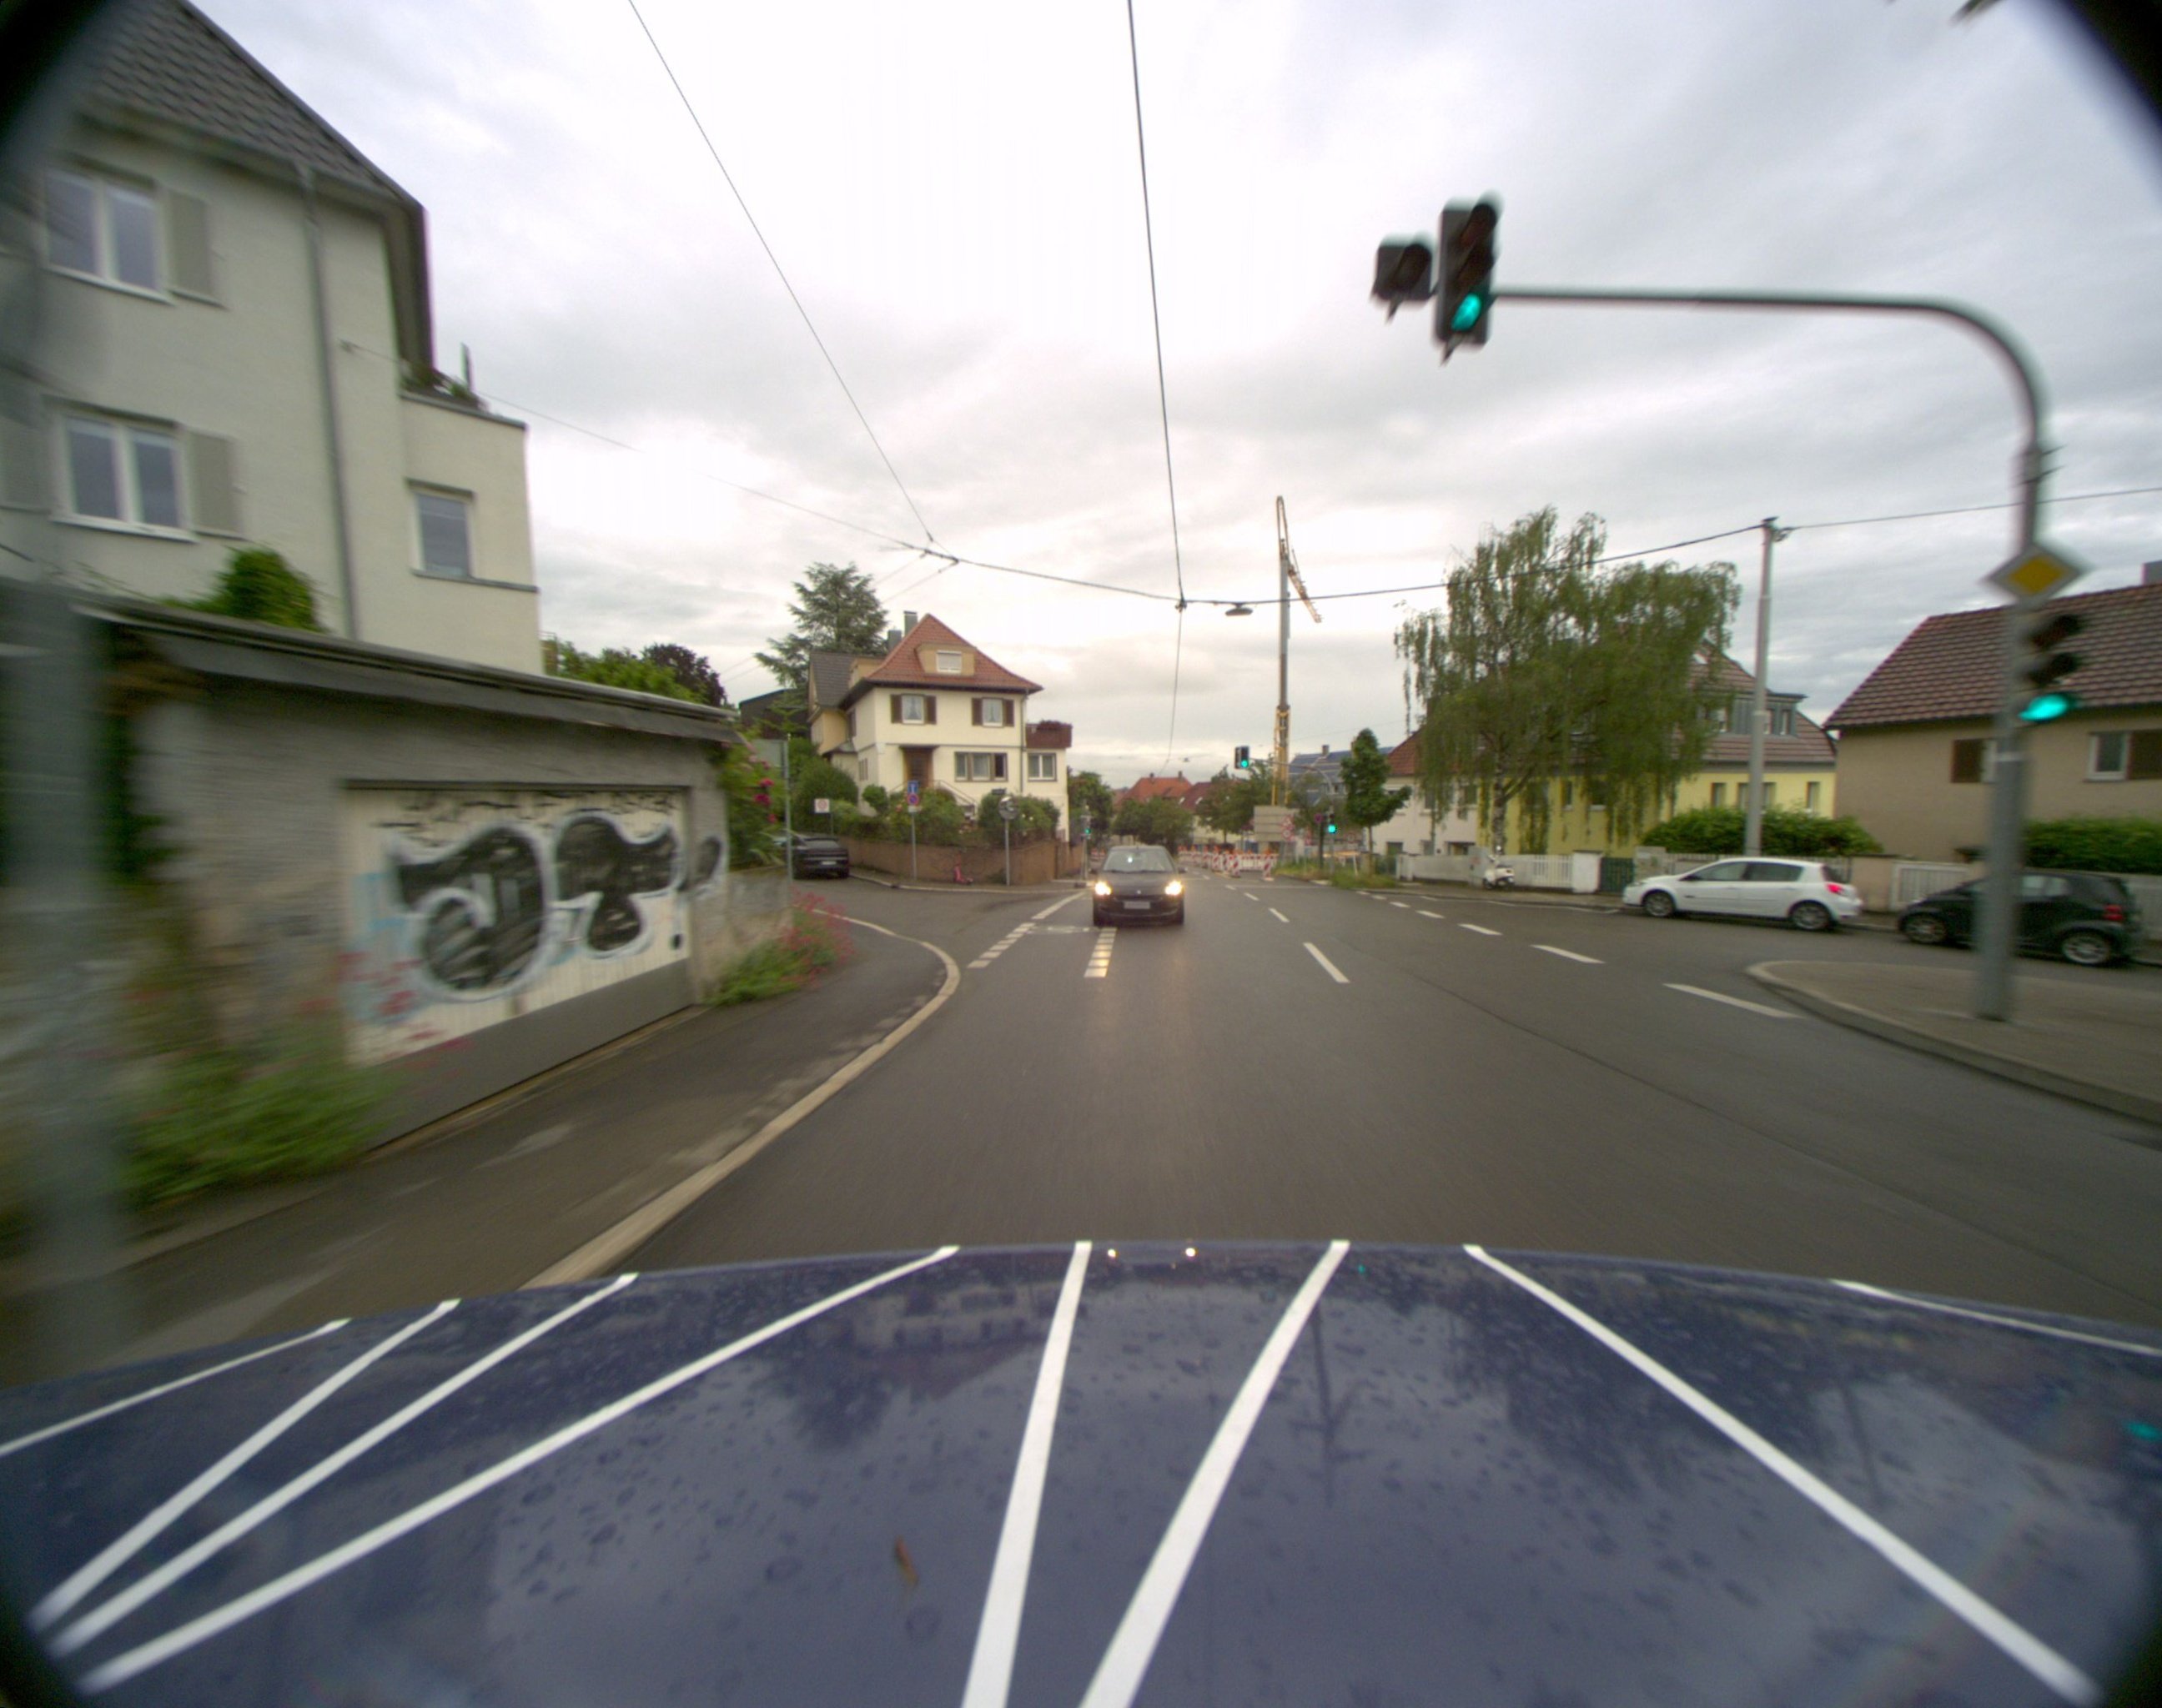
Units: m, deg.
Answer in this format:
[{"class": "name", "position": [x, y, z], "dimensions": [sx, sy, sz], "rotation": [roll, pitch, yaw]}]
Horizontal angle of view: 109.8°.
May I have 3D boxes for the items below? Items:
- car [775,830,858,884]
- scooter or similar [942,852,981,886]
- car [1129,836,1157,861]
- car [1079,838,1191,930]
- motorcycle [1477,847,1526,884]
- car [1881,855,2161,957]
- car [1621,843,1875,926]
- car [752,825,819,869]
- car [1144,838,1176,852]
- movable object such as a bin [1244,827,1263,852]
[{"class": "car", "position": [-10.385, 0.031, 29.689], "dimensions": [2.003, 1.675, 4.356], "rotation": [-2, 6, -34]}, {"class": "scooter or similar", "position": [-4.285, 0.508, 27.114], "dimensions": [0.654, 1.052, 1.554], "rotation": [0, 5, -38]}, {"class": "car", "position": [4.926, -0.390, 60.443], "dimensions": [2.017, 1.728, 4.600], "rotation": [-5, 0, 5]}, {"class": "car", "position": [1.114, 0.478, 14.505], "dimensions": [1.745, 1.433, 4.361], "rotation": [-2, 0, 6]}, {"class": "motorcycle", "position": [13.410, 0.343, 24.295], "dimensions": [0.592, 1.124, 1.843], "rotation": [0, 1, 3]}, {"class": "car", "position": [16.992, 0.861, 13.813], "dimensions": [1.567, 1.423, 2.911], "rotation": [1, 4, -23]}, {"class": "car", "position": [14.950, 0.597, 17.239], "dimensions": [1.693, 1.500, 3.999], "rotation": [1, 3, -37]}, {"class": "car", "position": [-13.435, -0.369, 34.419], "dimensions": [1.878, 1.634, 4.357], "rotation": [-4, 6, -34]}, {"class": "car", "position": [11.066, -1.322, 107.076], "dimensions": [3.955, 1.535, 1.860], "rotation": [-7, 3, -22]}, {"class": "movable object such as a bin", "position": [17.580, -1.463, 77.348], "dimensions": [1.318, 2.491, 1.384], "rotation": [-3, 2, -19]}]
